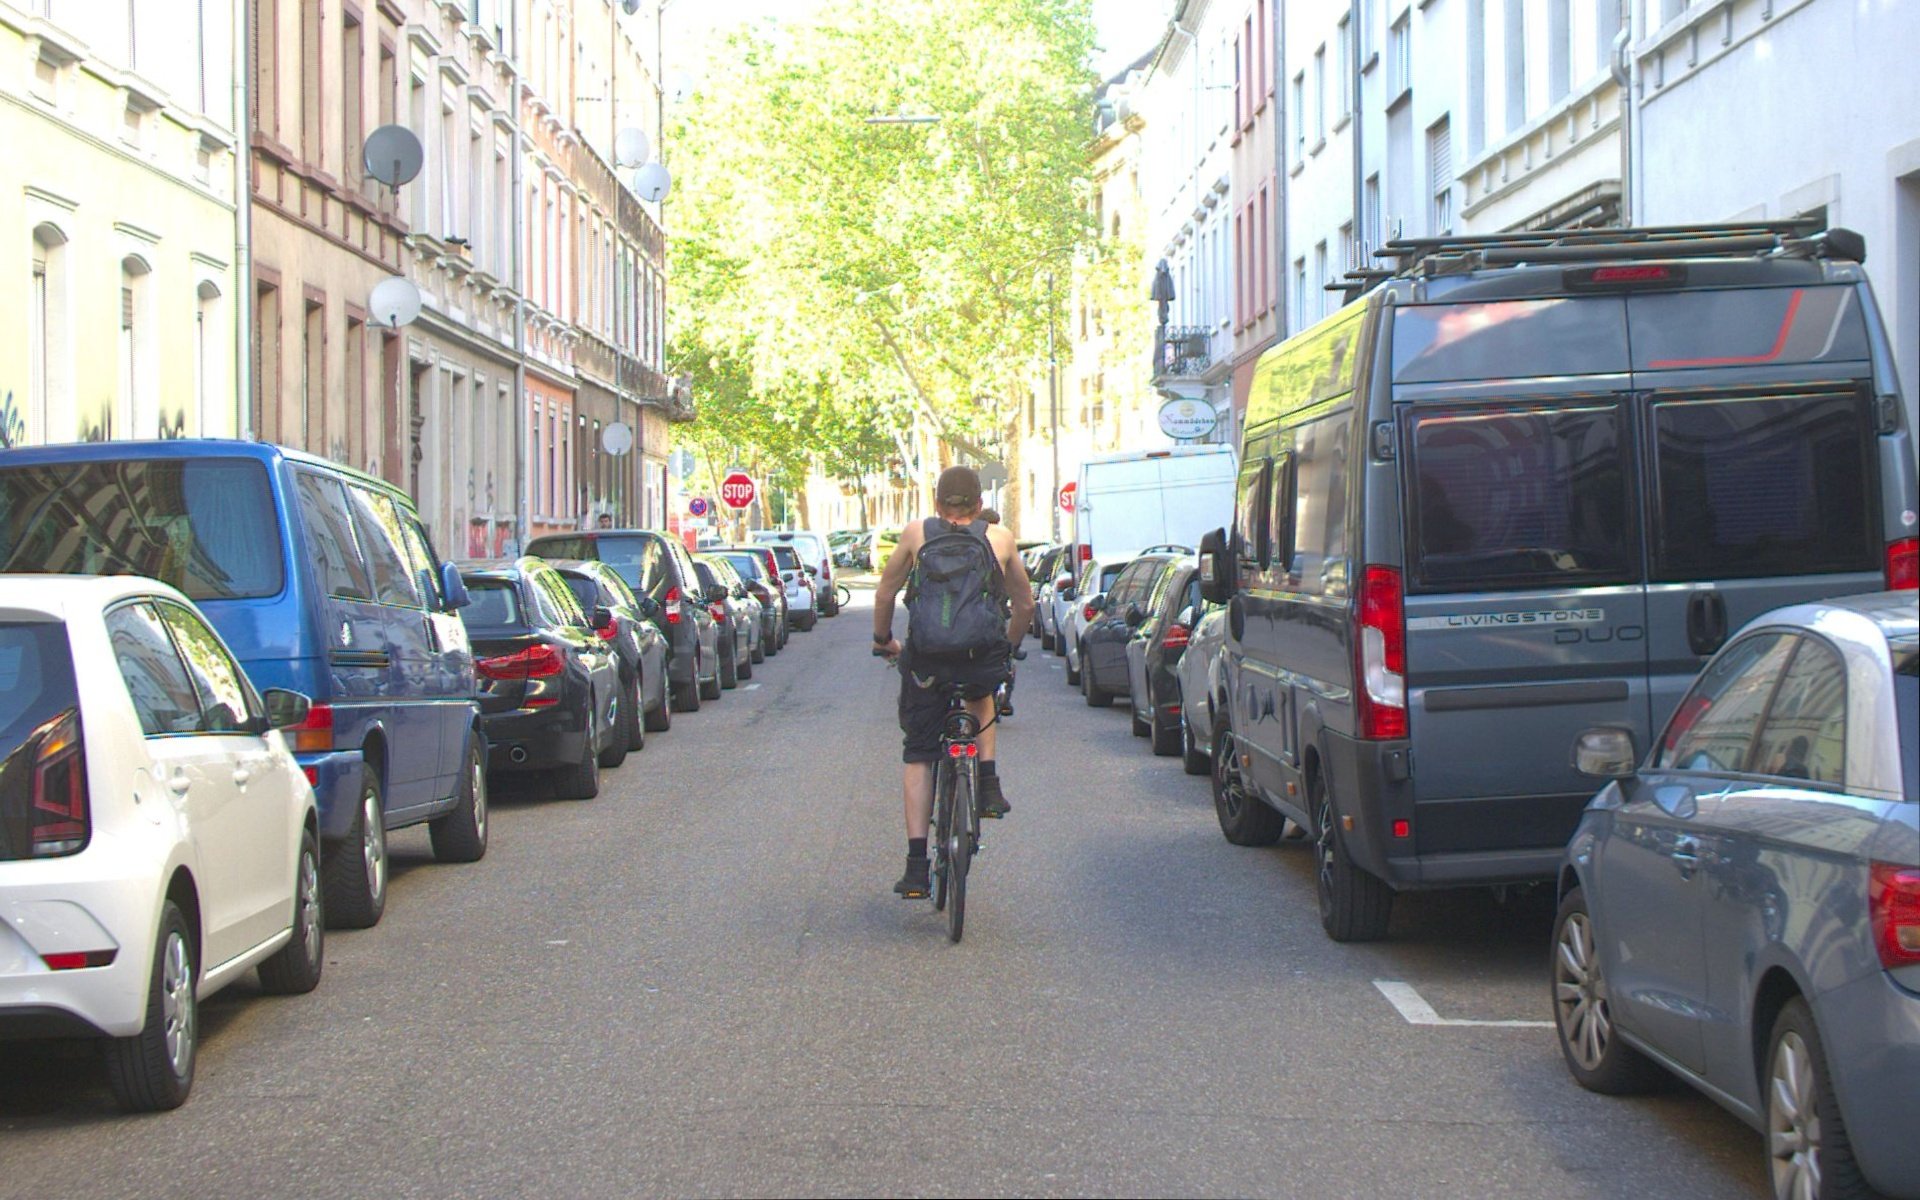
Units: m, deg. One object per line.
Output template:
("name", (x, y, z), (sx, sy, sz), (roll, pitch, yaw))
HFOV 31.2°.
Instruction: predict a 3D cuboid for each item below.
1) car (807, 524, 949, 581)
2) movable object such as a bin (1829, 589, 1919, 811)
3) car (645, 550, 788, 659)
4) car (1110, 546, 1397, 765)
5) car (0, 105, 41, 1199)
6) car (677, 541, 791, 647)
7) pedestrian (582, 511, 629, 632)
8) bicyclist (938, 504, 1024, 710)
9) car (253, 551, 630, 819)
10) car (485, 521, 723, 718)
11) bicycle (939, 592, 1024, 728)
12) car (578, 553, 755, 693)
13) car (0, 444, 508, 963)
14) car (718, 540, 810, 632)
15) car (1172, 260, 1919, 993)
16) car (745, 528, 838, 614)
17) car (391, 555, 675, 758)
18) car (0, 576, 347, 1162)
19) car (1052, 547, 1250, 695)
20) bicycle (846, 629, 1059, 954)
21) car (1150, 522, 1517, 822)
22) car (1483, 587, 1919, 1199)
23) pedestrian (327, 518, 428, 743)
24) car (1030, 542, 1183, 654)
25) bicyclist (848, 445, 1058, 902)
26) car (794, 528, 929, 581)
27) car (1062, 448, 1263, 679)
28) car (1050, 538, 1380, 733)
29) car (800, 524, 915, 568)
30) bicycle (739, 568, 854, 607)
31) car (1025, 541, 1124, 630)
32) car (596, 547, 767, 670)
("car", (-2.681, -1.555, 111.743), (4.468, 1.753, 1.867), (-1, 1, -4))
("movable object such as a bin", (4.879, 0.473, 17.087), (0.863, 1.039, 0.708), (-4, 1, -2))
("car", (-3.352, 0.026, 47.960), (1.706, 1.409, 4.302), (-1, 1, 0))
("car", (2.137, 0.353, 26.057), (1.746, 1.480, 4.243), (-1, 1, -1))
("car", (-3.056, 0.227, 4.574), (2.168, 2.443, 5.922), (-2, 1, -2))
("car", (-3.450, -0.118, 52.918), (1.604, 1.525, 3.379), (-2, 1, -2))
("pedestrian", (-5.535, -0.448, 53.721), (0.610, 1.851, 0.754), (2, 1, -1))
("bicyclist", (0.163, 0.047, 28.133), (0.669, 1.653, 0.877), (-1, 1, 0))
("car", (-3.175, 0.450, 21.925), (1.862, 1.435, 4.646), (-1, 2, -2))
("car", (-3.343, 0.145, 32.944), (1.801, 1.692, 4.000), (-3, 1, 0))
("bicycle", (0.164, 0.474, 28.201), (0.664, 1.034, 1.959), (-1, 1, 0))
("car", (-3.189, 0.217, 37.924), (1.592, 1.435, 3.654), (-1, 1, 0))
("car", (-3.253, 0.358, 15.228), (1.827, 1.885, 4.614), (-3, 1, 0))
("car", (-3.436, -0.270, 60.293), (1.544, 1.545, 3.466), (-1, 1, -3))
("car", (2.276, 0.029, 14.809), (2.175, 2.417, 6.310), (-2, 1, -1))
("car", (-3.525, -0.628, 72.492), (1.787, 1.731, 3.876), (-1, 1, -1))
("car", (-3.268, 0.385, 26.987), (1.736, 1.422, 4.000), (-1, 1, 0))
("car", (-3.010, 0.682, 10.637), (1.645, 1.442, 3.840), (-1, 1, -2))
("car", (1.944, 0.177, 35.892), (1.725, 1.424, 3.833), (-1, 1, -2))
("bicycle", (-0.040, 0.695, 13.346), (0.740, 1.097, 2.042), (1, 1, -1))
("car", (2.198, 0.360, 21.305), (1.693, 1.602, 4.375), (-2, 1, -1))
("car", (2.498, 0.717, 8.506), (1.747, 1.439, 4.172), (0, 1, 0))
("pedestrian", (-4.786, 0.241, 28.270), (0.651, 1.811, 0.754), (2, 1, 0))
("car", (1.994, -0.066, 47.863), (1.731, 1.465, 4.022), (-1, 1, -3))
("bicyclist", (-0.034, 0.263, 13.251), (0.740, 1.673, 1.117), (1, 1, -1))
("car", (-3.364, -1.549, 116.822), (4.468, 1.690, 1.867), (-1, 1, -4))
("car", (2.344, -0.464, 41.325), (2.204, 2.542, 6.036), (-1, 1, 2))
("car", (2.184, 0.250, 30.840), (1.811, 1.473, 4.609), (-4, 2, -10))
("car", (-4.091, -2.156, 137.016), (4.468, 1.690, 1.867), (-1, 1, -4))
("bicycle", (-3.908, -0.296, 82.166), (2.715, 0.889, 0.619), (-1, 1, -3))
("car", (1.994, -0.278, 60.660), (1.592, 1.487, 3.876), (-1, 1, 0))
("car", (-3.428, 0.076, 42.900), (1.674, 1.425, 3.888), (-1, 1, 2))
